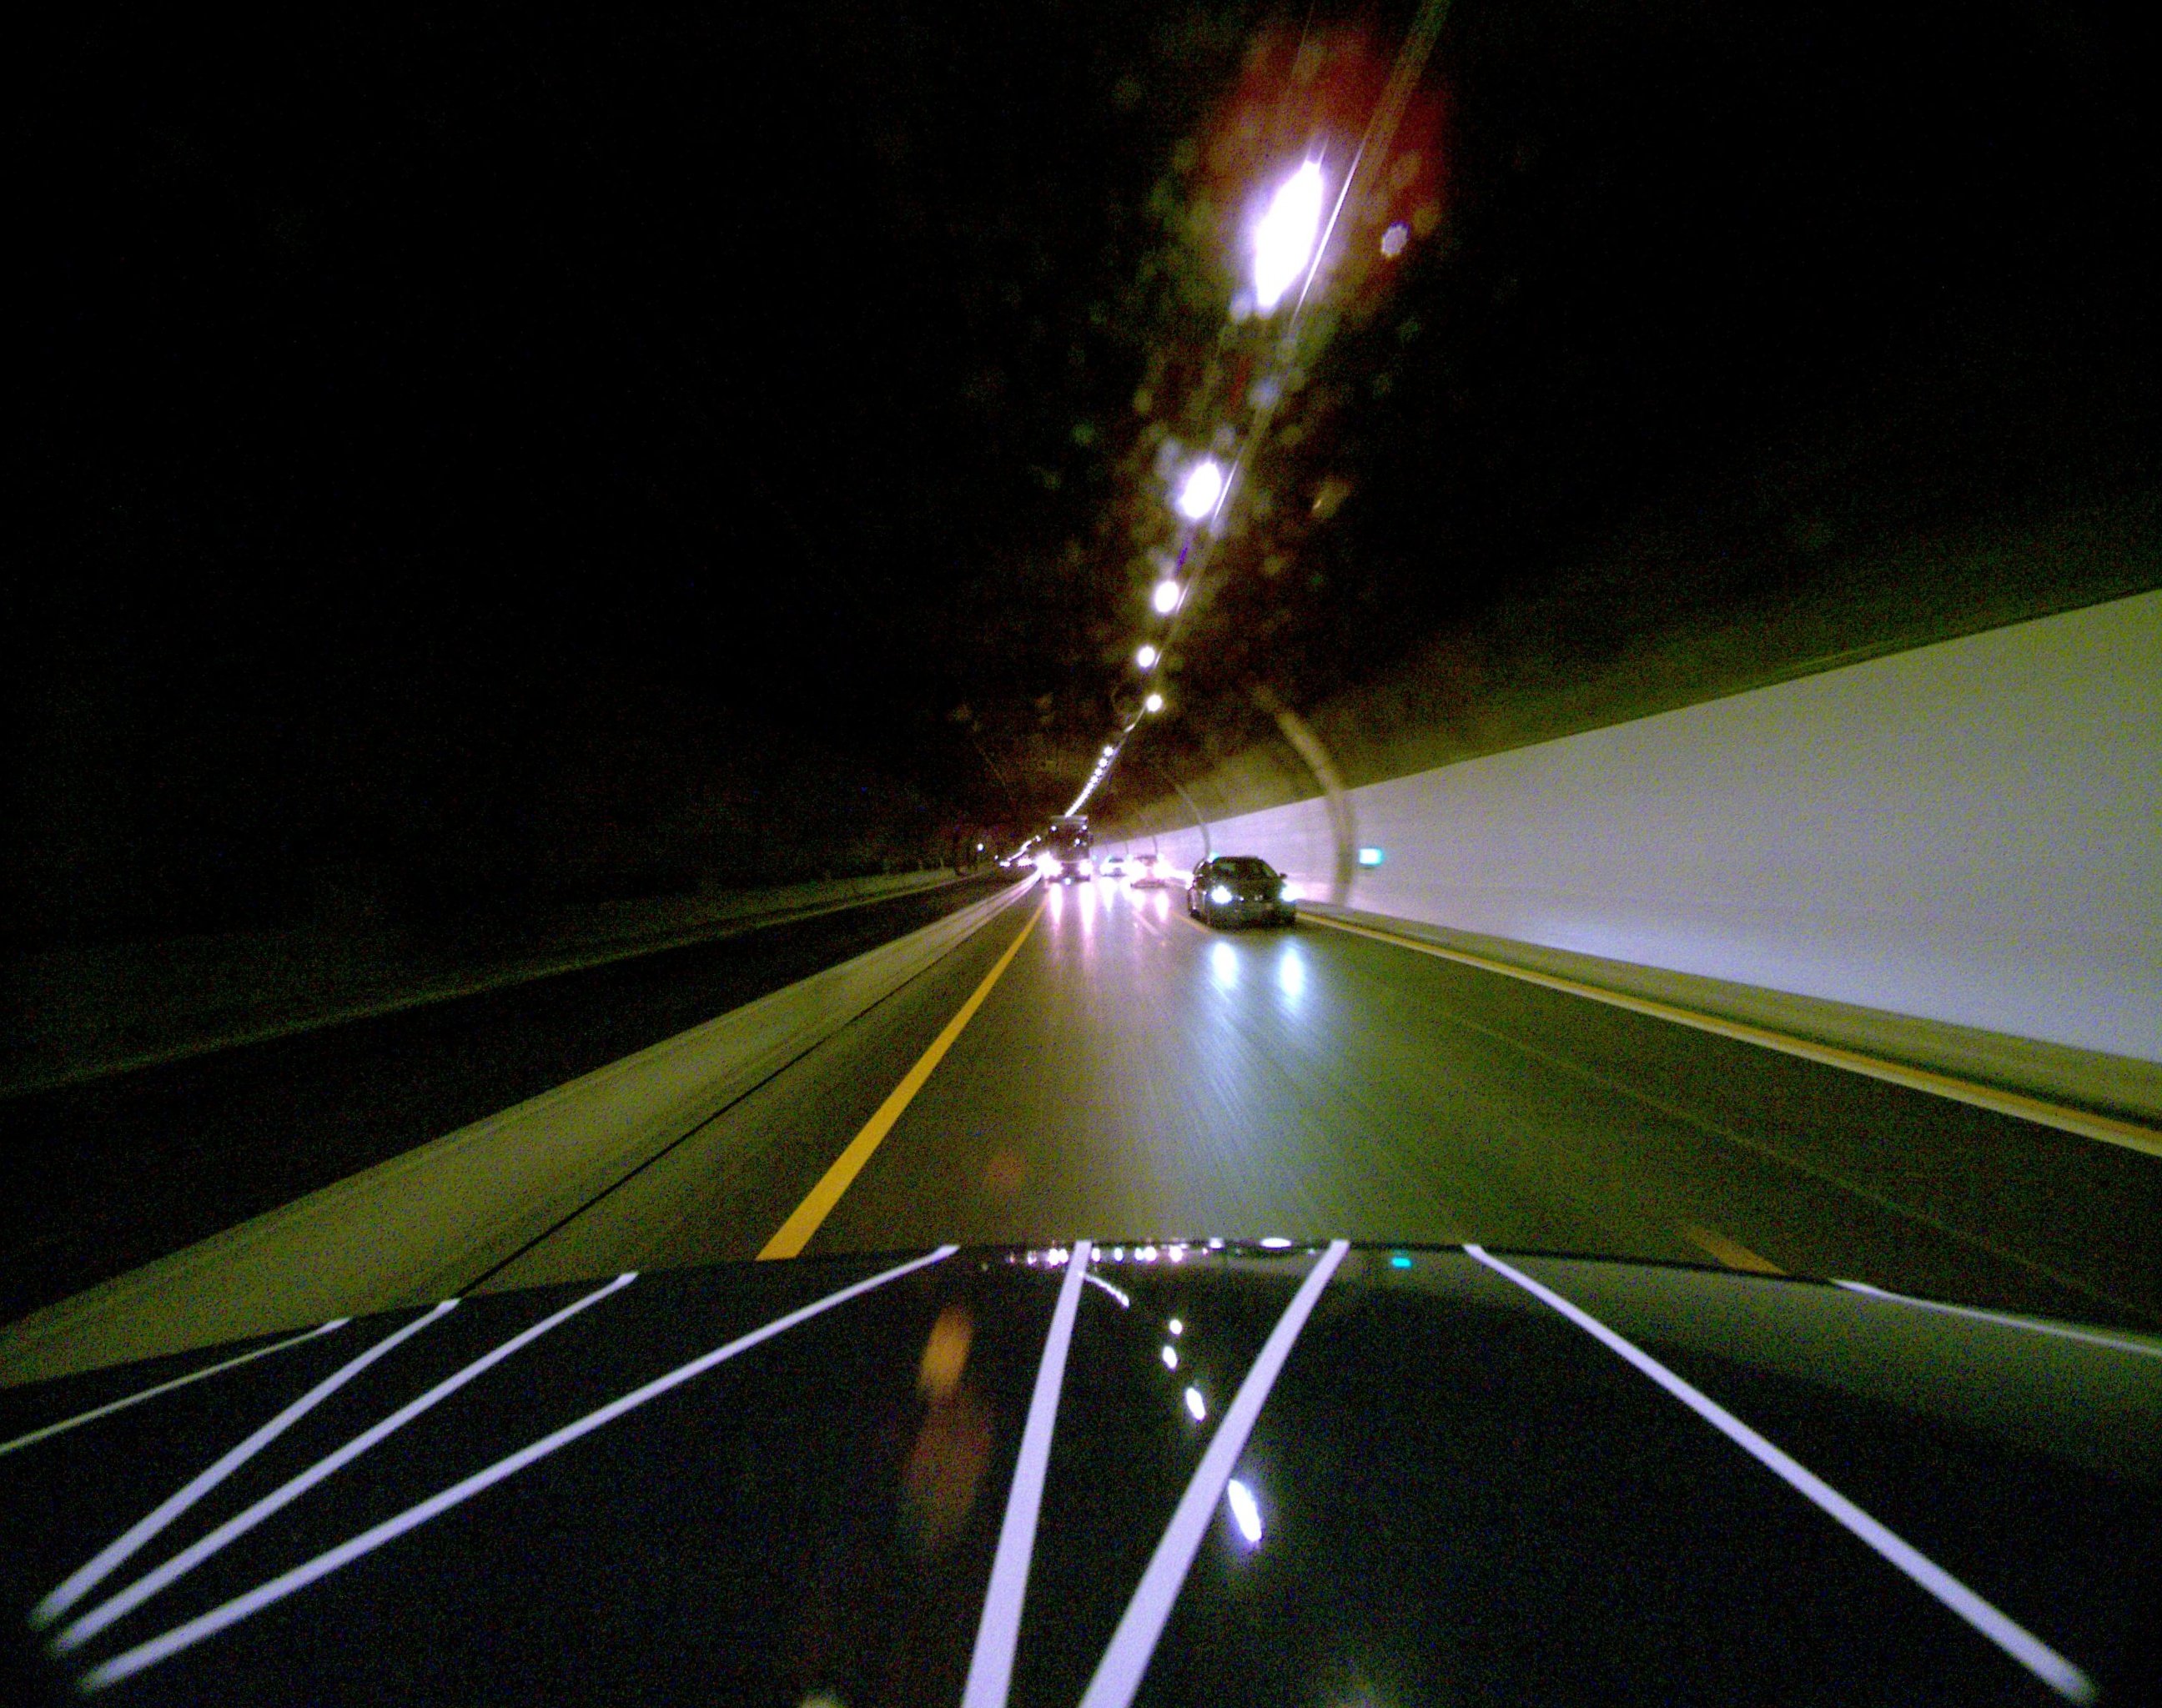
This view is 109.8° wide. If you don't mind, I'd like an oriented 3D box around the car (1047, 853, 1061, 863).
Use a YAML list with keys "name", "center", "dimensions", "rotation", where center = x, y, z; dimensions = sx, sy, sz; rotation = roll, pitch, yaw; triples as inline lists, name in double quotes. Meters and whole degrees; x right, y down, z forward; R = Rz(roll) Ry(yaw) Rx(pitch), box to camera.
- name: "car"
  center: [-4.180, 0.629, 117.191]
  dimensions: [1.999, 1.524, 3.999]
  rotation: [-2, 0, -2]

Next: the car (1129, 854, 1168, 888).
- name: "car"
  center: [3.157, 0.797, 36.016]
  dimensions: [1.531, 1.508, 2.651]
  rotation: [-2, 0, -1]

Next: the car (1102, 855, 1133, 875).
- name: "car"
  center: [2.710, 0.803, 57.173]
  dimensions: [1.910, 1.412, 4.060]
  rotation: [-2, 0, -2]

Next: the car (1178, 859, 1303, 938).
- name: "car"
  center: [3.420, 0.886, 17.247]
  dimensions: [1.782, 1.430, 4.882]
  rotation: [-2, 0, 0]

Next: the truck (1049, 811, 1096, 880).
- name: "truck"
  center: [-0.606, -0.520, 49.928]
  dimensions: [2.742, 4.127, 8.099]
  rotation: [-2, 0, -1]

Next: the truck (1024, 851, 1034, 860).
- name: "truck"
  center: [-17.103, 0.481, 248.779]
  dimensions: [2.611, 2.723, 6.393]
  rotation: [-2, 0, -8]
